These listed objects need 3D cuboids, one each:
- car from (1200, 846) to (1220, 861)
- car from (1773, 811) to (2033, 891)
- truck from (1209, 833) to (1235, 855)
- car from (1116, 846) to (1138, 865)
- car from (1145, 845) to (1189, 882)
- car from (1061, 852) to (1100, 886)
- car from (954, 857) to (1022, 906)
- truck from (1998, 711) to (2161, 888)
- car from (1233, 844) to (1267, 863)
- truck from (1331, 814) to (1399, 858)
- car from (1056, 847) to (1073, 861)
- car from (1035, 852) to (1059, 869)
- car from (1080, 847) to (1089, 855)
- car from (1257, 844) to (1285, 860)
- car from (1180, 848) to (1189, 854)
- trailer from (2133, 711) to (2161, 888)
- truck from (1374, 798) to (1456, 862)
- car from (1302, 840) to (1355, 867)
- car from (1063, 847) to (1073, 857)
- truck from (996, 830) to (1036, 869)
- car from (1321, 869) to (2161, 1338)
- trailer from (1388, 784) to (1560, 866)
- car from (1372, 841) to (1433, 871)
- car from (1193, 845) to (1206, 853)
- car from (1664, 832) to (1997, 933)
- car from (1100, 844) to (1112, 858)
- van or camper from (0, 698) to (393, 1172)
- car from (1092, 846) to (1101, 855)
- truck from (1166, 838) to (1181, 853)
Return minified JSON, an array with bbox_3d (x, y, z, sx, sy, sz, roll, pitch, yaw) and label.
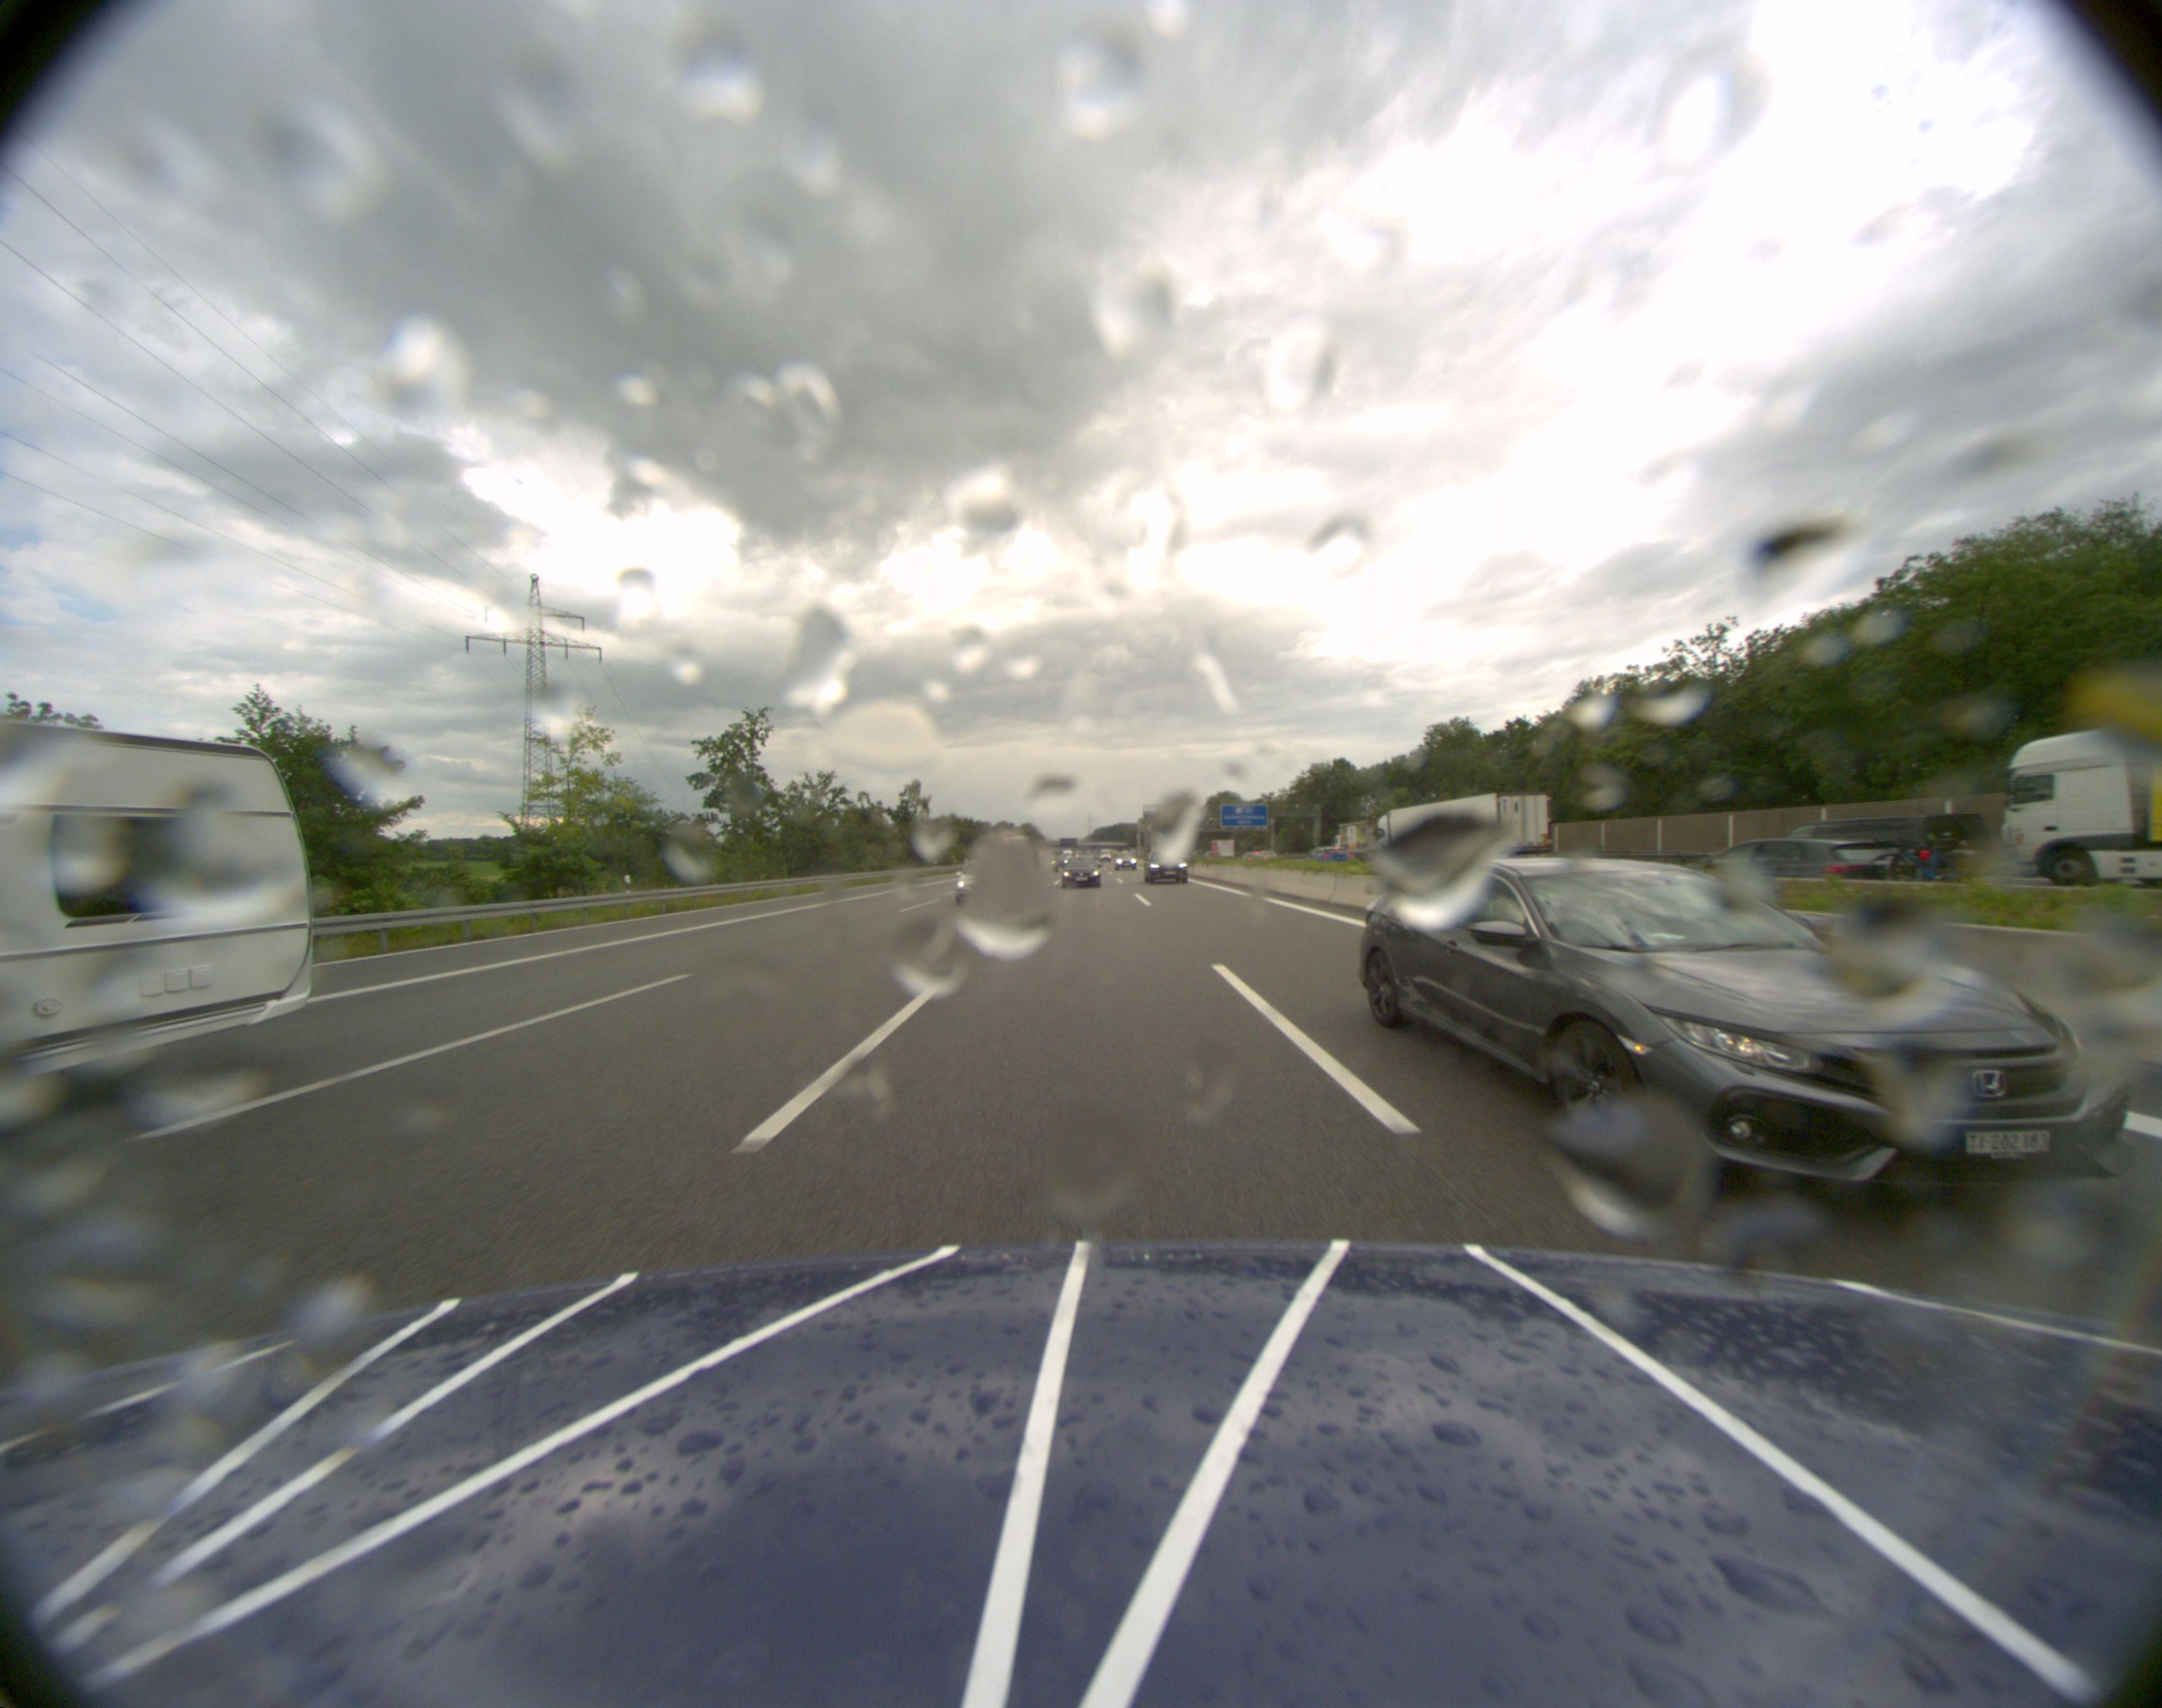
[{"bbox_3d":[14.320,-0.104,84.628,1.592,1.528,3.548,-2,1,1],"label":"car"},{"bbox_3d":[22.322,-0.110,21.030,1.770,1.884,5.038,-2,1,1],"label":"car"},{"bbox_3d":[18.977,-1.323,102.438,2.335,2.812,6.248,-2,1,1],"label":"truck"},{"bbox_3d":[4.276,0.118,70.559,1.840,1.615,4.915,-2,1,4],"label":"car"},{"bbox_3d":[4.322,0.442,38.709,1.913,1.681,5.169,-2,1,3],"label":"car"},{"bbox_3d":[0.025,0.690,36.191,1.717,1.437,4.000,-2,1,2],"label":"car"},{"bbox_3d":[-3.090,0.880,25.994,1.683,1.437,4.000,-2,1,2],"label":"car"},{"bbox_3d":[25.511,-1.266,16.823,2.684,3.941,6.442,-2,1,1],"label":"truck"},{"bbox_3d":[14.663,-0.093,66.059,1.998,1.528,3.999,-2,1,1],"label":"car"},{"bbox_3d":[26.942,-1.666,72.636,2.806,3.812,10.007,-2,1,1],"label":"truck"},{"bbox_3d":[-2.138,0.020,98.085,1.998,1.701,3.999,-2,1,1],"label":"car"},{"bbox_3d":[-3.067,0.563,69.168,1.840,1.437,4.000,-2,1,2],"label":"car"},{"bbox_3d":[0.919,-0.769,197.419,1.998,2.002,4.000,-2,1,1],"label":"car"},{"bbox_3d":[19.801,-0.260,79.191,1.770,1.528,4.582,-2,1,1],"label":"car"},{"bbox_3d":[27.348,-0.800,200.922,1.998,1.528,3.999,-2,1,1],"label":"car"},{"bbox_3d":[25.347,-1.185,10.388,2.684,3.941,14.051,-2,1,1],"label":"trailer"},{"bbox_3d":[22.039,-1.540,50.484,2.732,3.863,6.003,-2,1,1],"label":"truck"},{"bbox_3d":[14.914,-0.057,46.039,1.770,1.528,4.582,-2,1,1],"label":"car"},{"bbox_3d":[-2.836,-0.498,166.972,1.998,2.002,4.000,-2,1,1],"label":"car"},{"bbox_3d":[-6.501,-0.497,77.266,2.869,3.633,9.594,-2,1,2],"label":"truck"},{"bbox_3d":[3.253,0.874,5.022,1.765,1.361,5.059,-2,0,1],"label":"car"},{"bbox_3d":[21.970,-1.492,44.024,2.732,3.863,14.050,-2,1,1],"label":"trailer"},{"bbox_3d":[17.981,0.095,42.669,1.763,1.528,3.999,-2,1,1],"label":"car"},{"bbox_3d":[22.936,-0.955,146.947,1.998,1.528,3.999,-2,1,1],"label":"car"},{"bbox_3d":[13.653,0.431,14.345,1.770,1.528,4.582,-2,1,1],"label":"car"},{"bbox_3d":[4.625,-0.602,141.243,1.998,2.524,4.808,-2,1,1],"label":"car"},{"bbox_3d":[-7.434,0.518,3.175,2.390,2.723,7.208,-2,1,0],"label":"van or camper"},{"bbox_3d":[3.827,-0.778,184.154,1.998,2.002,4.000,-2,1,1],"label":"car"},{"bbox_3d":[27.055,-2.490,223.353,3.202,4.005,10.842,-2,1,1],"label":"truck"}]
